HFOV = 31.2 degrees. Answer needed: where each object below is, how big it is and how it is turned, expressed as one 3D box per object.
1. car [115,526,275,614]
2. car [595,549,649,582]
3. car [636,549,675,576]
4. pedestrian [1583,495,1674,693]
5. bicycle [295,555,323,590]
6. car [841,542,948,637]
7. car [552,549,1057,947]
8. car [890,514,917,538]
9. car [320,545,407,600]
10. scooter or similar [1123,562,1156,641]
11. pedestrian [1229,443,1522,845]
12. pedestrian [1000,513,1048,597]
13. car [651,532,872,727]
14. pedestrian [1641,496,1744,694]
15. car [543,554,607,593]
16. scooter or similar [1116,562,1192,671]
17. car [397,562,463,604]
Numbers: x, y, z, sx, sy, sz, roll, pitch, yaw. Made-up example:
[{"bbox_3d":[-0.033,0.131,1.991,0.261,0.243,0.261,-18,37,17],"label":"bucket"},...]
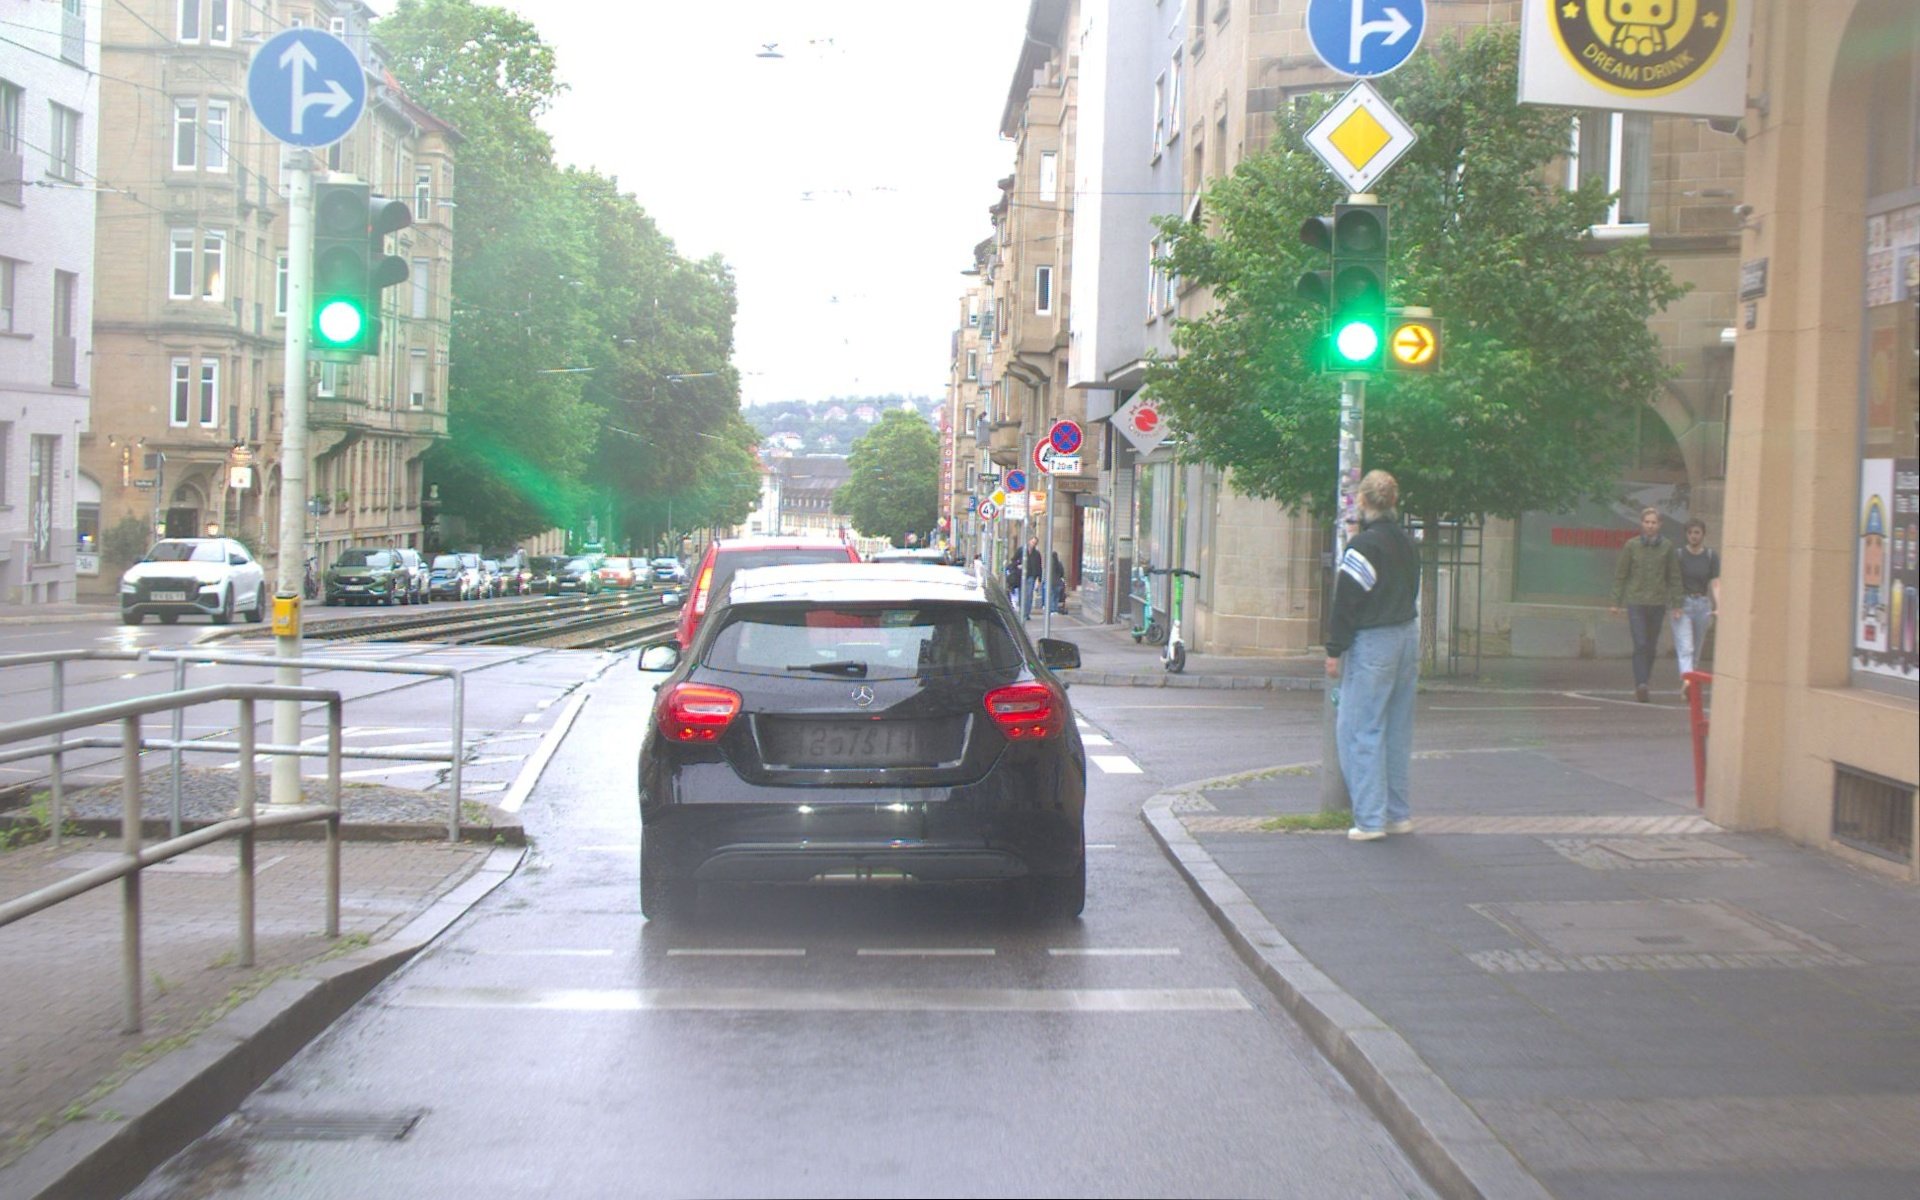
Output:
[{"bbox_3d":[-14.668,-0.571,66.208,1.993,1.622,5.253,0,0,-1],"label":"car"},{"bbox_3d":[-14.178,-1.439,144.482,1.806,1.356,4.763,0,1,0],"label":"car"},{"bbox_3d":[-16.103,-1.995,181.934,1.695,1.384,3.481,0,1,1],"label":"car"},{"bbox_3d":[6.111,-0.058,31.453,0.594,1.782,0.891,-1,0,-4],"label":"pedestrian"},{"bbox_3d":[-18.569,-0.785,98.097,0.598,0.997,2.080,0,1,-5],"label":"bicycle"},{"bbox_3d":[-1.117,-0.198,59.176,1.765,1.553,4.746,0,1,-1],"label":"car"},{"bbox_3d":[-0.559,0.526,14.947,1.866,1.447,4.000,2,1,1],"label":"car"},{"bbox_3d":[-3.458,-4.529,210.738,1.613,1.313,4.000,2,0,-1],"label":"car"},{"bbox_3d":[-16.805,-0.783,96.934,1.722,1.536,3.934,0,1,1],"label":"car"},{"bbox_3d":[2.823,0.018,54.082,0.395,1.212,1.107,1,1,-3],"label":"scooter or similar"},{"bbox_3d":[1.981,0.198,16.431,0.900,1.834,0.968,-3,1,-39],"label":"pedestrian"},{"bbox_3d":[1.362,-0.970,73.678,0.945,1.763,1.015,1,1,-3],"label":"pedestrian"},{"bbox_3d":[-1.634,0.192,28.315,1.649,1.447,4.001,1,1,-3],"label":"car"},{"bbox_3d":[6.696,-0.052,31.467,0.682,1.782,0.902,-1,0,-4],"label":"pedestrian"},{"bbox_3d":[-14.307,-1.001,127.893,1.948,1.392,4.274,0,1,0],"label":"car"},{"bbox_3d":[2.185,0.170,38.909,0.638,1.206,1.553,0,1,-5],"label":"scooter or similar"},{"bbox_3d":[-17.273,-0.566,112.089,1.569,1.312,3.481,0,1,1],"label":"car"}]
